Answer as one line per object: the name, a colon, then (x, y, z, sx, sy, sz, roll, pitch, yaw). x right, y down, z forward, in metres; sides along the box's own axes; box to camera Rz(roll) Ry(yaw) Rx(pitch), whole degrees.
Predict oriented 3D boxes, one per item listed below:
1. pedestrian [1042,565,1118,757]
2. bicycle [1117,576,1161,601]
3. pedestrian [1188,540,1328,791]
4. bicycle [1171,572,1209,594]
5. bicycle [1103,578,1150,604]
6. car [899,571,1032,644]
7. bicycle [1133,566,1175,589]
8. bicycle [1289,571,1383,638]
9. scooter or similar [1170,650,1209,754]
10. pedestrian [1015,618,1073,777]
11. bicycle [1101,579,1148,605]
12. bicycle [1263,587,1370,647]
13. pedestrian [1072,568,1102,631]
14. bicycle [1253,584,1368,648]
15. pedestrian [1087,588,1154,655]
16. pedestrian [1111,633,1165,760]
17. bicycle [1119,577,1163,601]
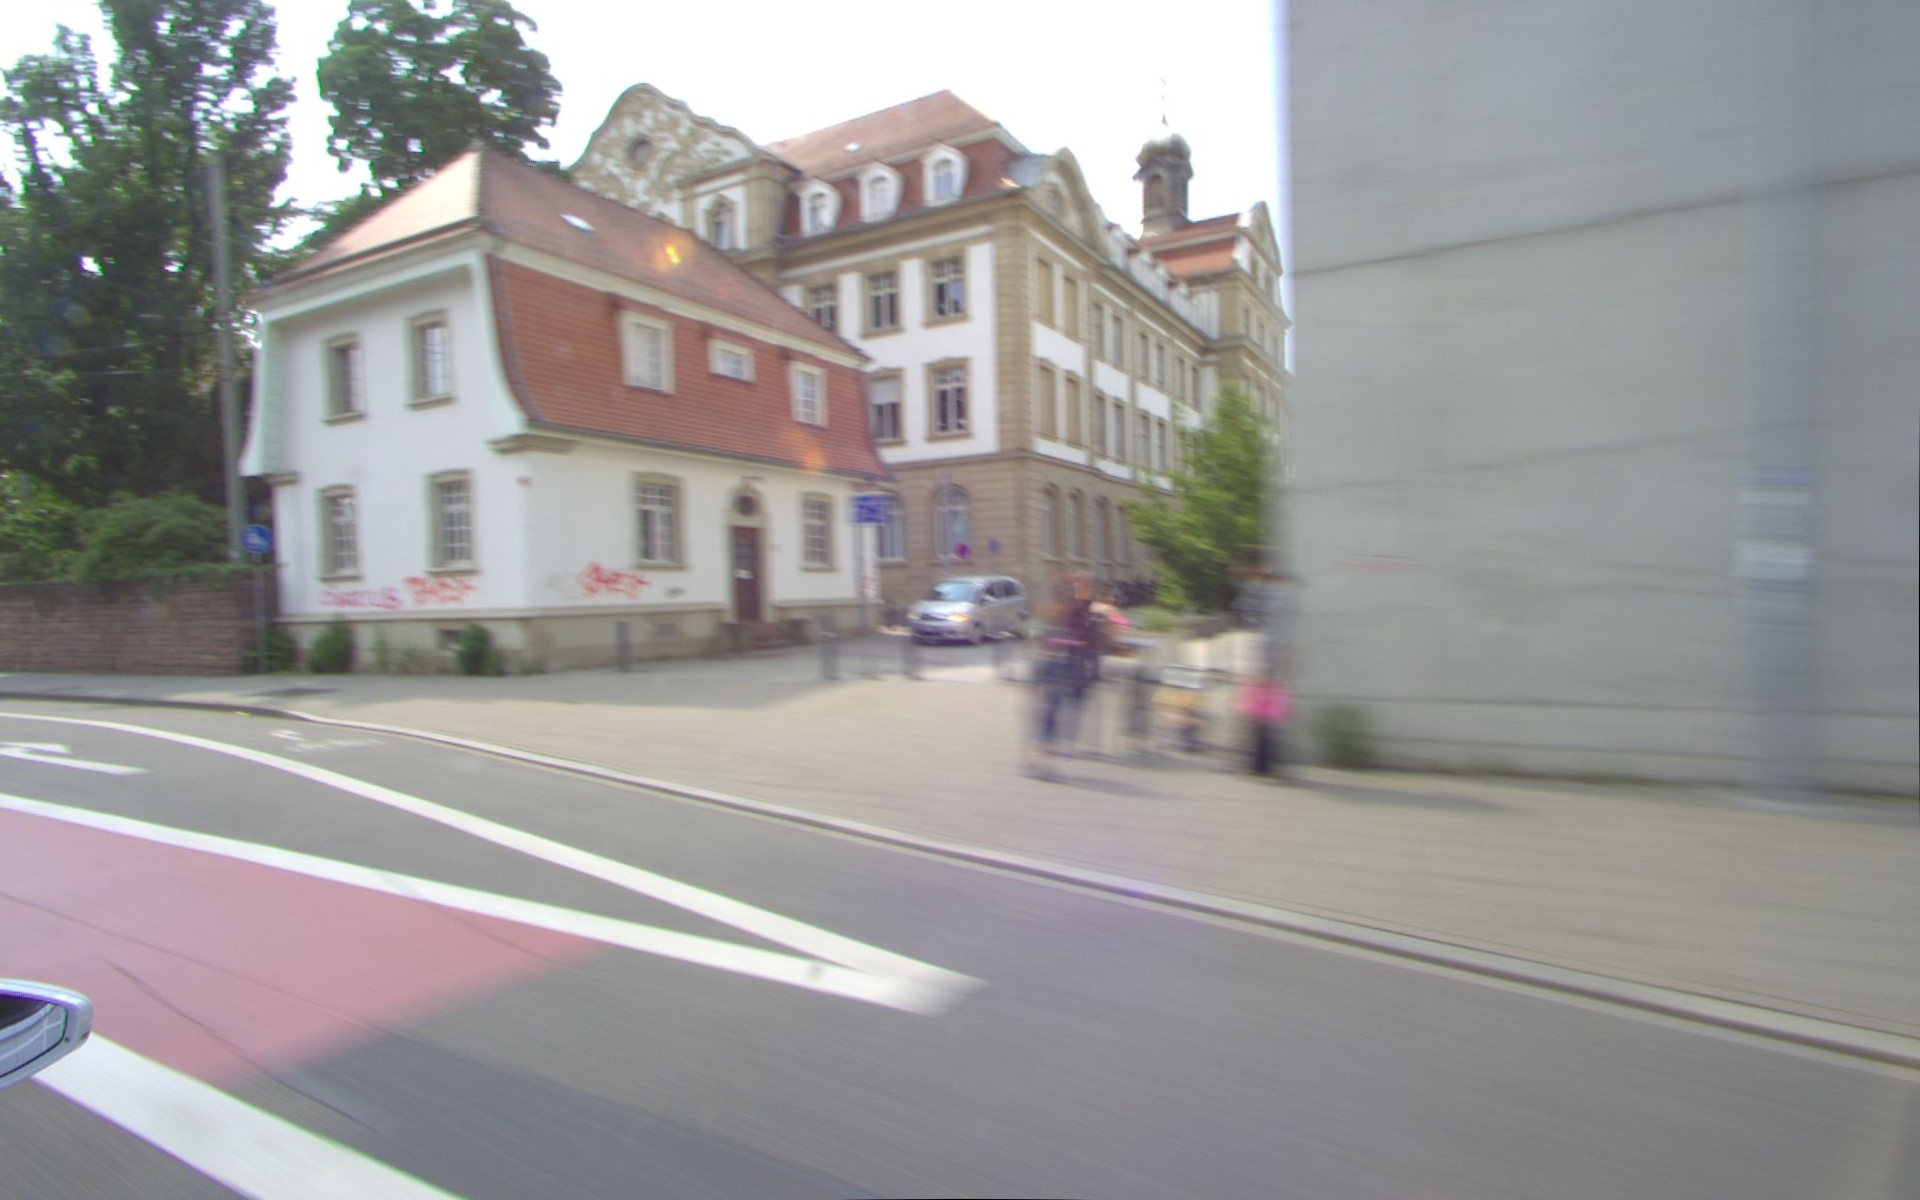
pedestrian: (1.049, 0.507, 8.681, 0.539, 1.603, 0.519, 0, 4, 19)
bicycle: (7.864, -0.513, 43.972, 1.790, 1.031, 0.698, -1, 3, 26)
pedestrian: (2.208, 0.438, 7.452, 0.678, 1.749, 0.741, -4, 4, -36)
bicycle: (11.765, -0.863, 51.284, 1.790, 1.031, 0.698, -1, 3, 26)
bicycle: (6.997, -0.367, 42.071, 1.790, 1.031, 0.698, -1, 3, 26)
car: (0.224, 0.107, 24.666, 1.639, 1.627, 3.873, 1, 2, 29)
bicycle: (8.986, -1.031, 46.414, 1.790, 1.031, 0.698, -1, 3, 26)
bicycle: (7.912, 0.095, 21.071, 1.790, 1.347, 0.698, -1, 3, 26)
scooter or similar: (1.976, 0.868, 8.640, 0.262, 0.812, 0.549, -1, 5, 6)
pedestrian: (0.679, 0.764, 8.021, 0.414, 1.218, 0.405, 0, 4, 11)
bicycle: (6.788, -0.317, 41.289, 1.790, 1.031, 0.698, -1, 3, 26)
bicycle: (6.562, 0.310, 18.419, 1.790, 1.031, 0.698, -1, 3, 26)
pedestrian: (2.526, -0.008, 19.910, 0.519, 1.217, 0.590, -2, 2, 2)
bicycle: (6.024, 0.271, 17.200, 1.790, 1.031, 0.698, -1, 3, 26)
pedestrian: (3.024, 0.389, 18.931, 0.896, 1.217, 0.871, -2, 2, -25)
pedestrian: (1.518, 0.809, 8.518, 0.390, 1.025, 0.342, 0, 4, 20)
bicycle: (8.132, -0.500, 44.948, 1.790, 1.031, 0.698, -1, 3, 26)
